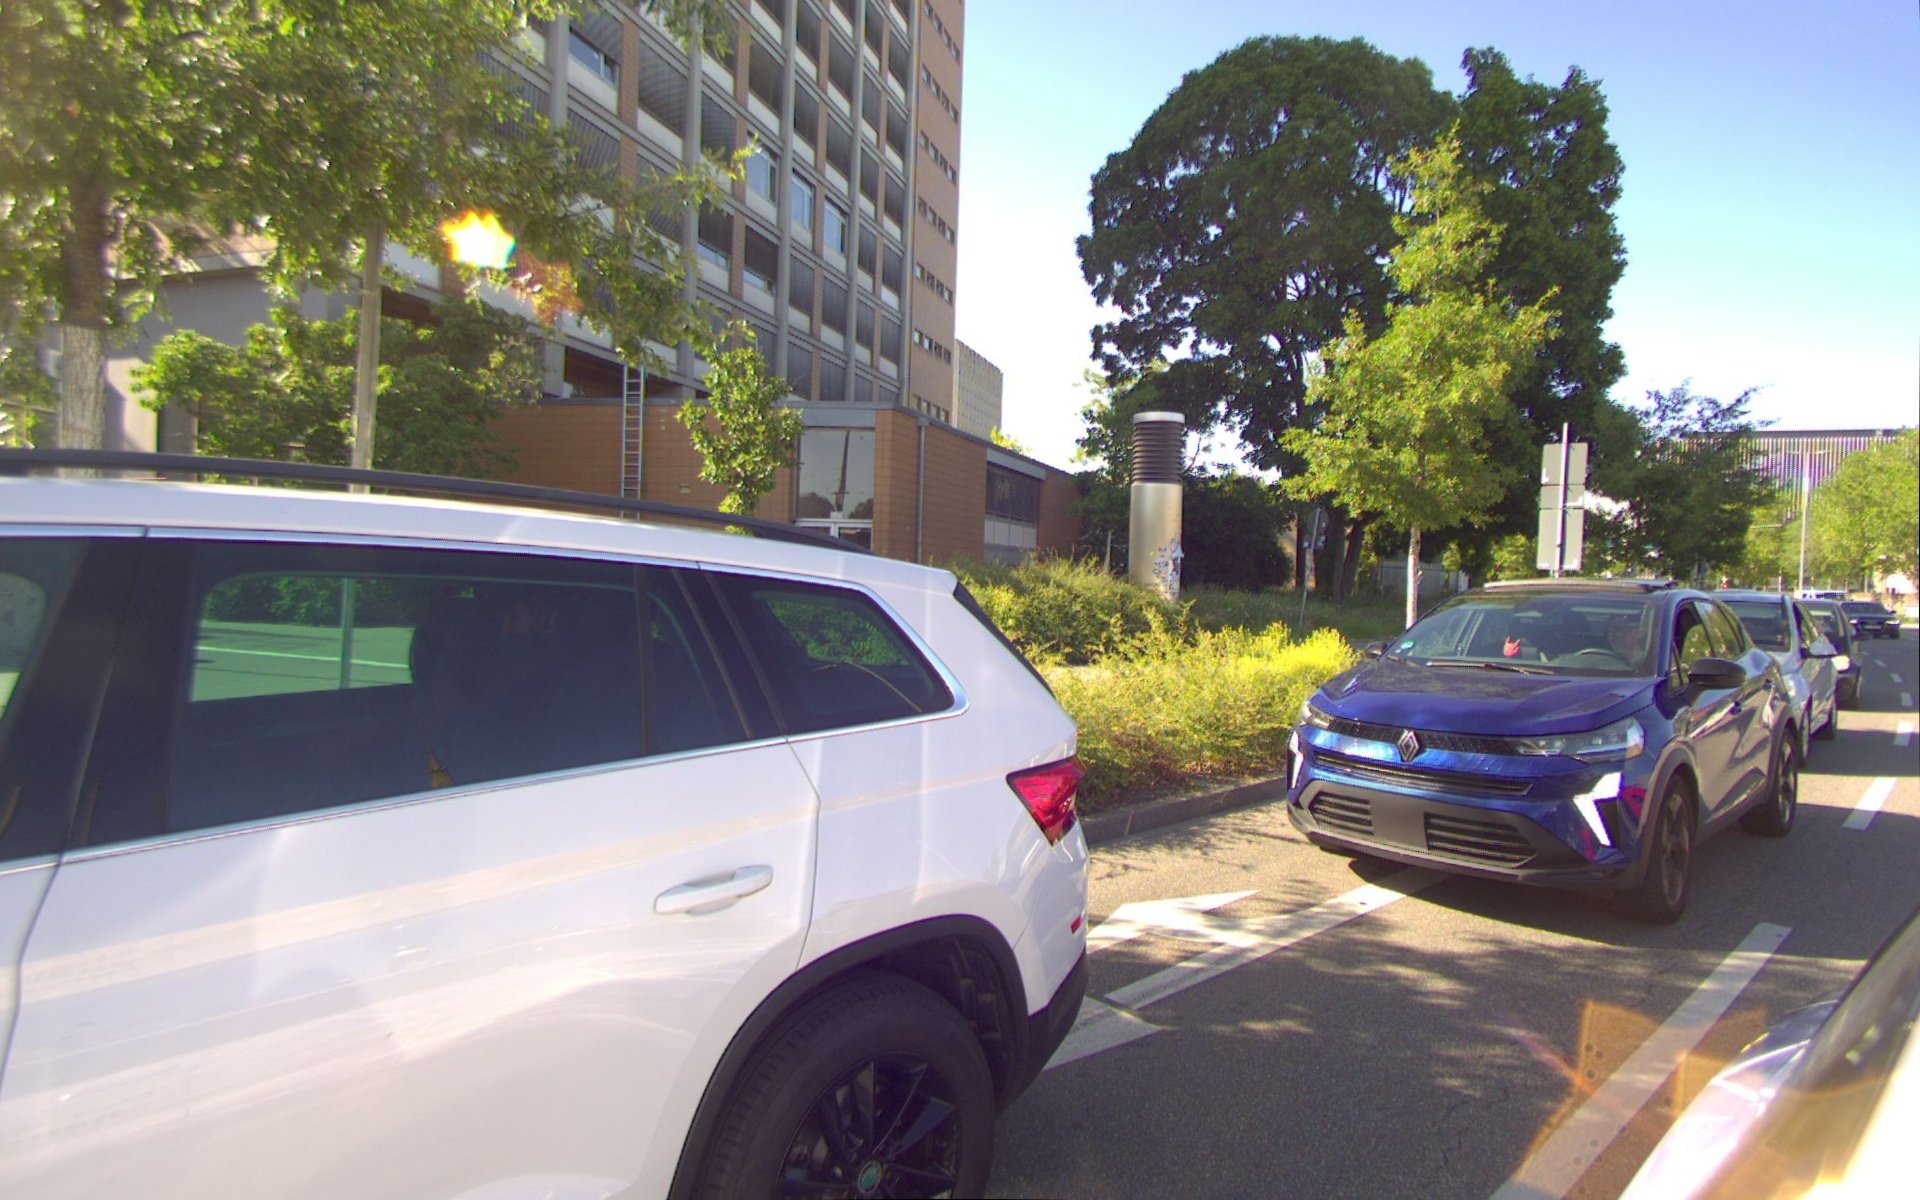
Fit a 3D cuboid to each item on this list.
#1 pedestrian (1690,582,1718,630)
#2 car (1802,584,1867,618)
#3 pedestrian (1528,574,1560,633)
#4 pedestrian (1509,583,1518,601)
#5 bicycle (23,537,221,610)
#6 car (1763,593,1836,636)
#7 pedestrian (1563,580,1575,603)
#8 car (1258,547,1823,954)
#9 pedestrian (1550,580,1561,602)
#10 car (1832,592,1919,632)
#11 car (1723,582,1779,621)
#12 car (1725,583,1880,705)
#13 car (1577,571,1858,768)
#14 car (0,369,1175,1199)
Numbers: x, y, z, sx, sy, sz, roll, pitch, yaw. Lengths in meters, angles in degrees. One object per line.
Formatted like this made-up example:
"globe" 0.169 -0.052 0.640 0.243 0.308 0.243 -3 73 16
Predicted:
"pedestrian" 26.083 0.203 35.490 0.655 1.624 0.686 2 1 28
"car" 54.739 0.022 63.446 1.767 2.039 4.201 1 1 22
"pedestrian" 16.564 0.085 28.713 0.688 1.624 0.653 2 1 35
"pedestrian" 60.664 -0.917 110.875 0.812 1.941 0.766 0 0 23
"bicycle" -17.245 -0.530 20.965 0.790 1.394 3.111 2 1 26
"car" 31.100 0.484 37.577 1.741 1.494 3.531 0 1 34
"pedestrian" 52.670 -0.755 87.526 0.814 1.941 0.764 0 0 28
"car" 3.636 0.586 6.012 4.013 1.626 1.704 0 1 -41
"pedestrian" 51.835 -0.761 88.129 0.814 1.941 0.764 0 0 28
"car" 36.665 0.440 40.624 1.867 1.500 3.955 1 1 31
"car" 39.844 0.055 51.059 1.815 1.876 3.708 2 2 33
"car" 13.118 0.596 15.687 1.646 1.631 3.435 3 2 43
"car" 8.074 0.572 10.649 3.977 1.645 1.782 0 2 -45
"car" -1.618 0.560 1.674 4.223 1.662 1.697 0 2 -42
